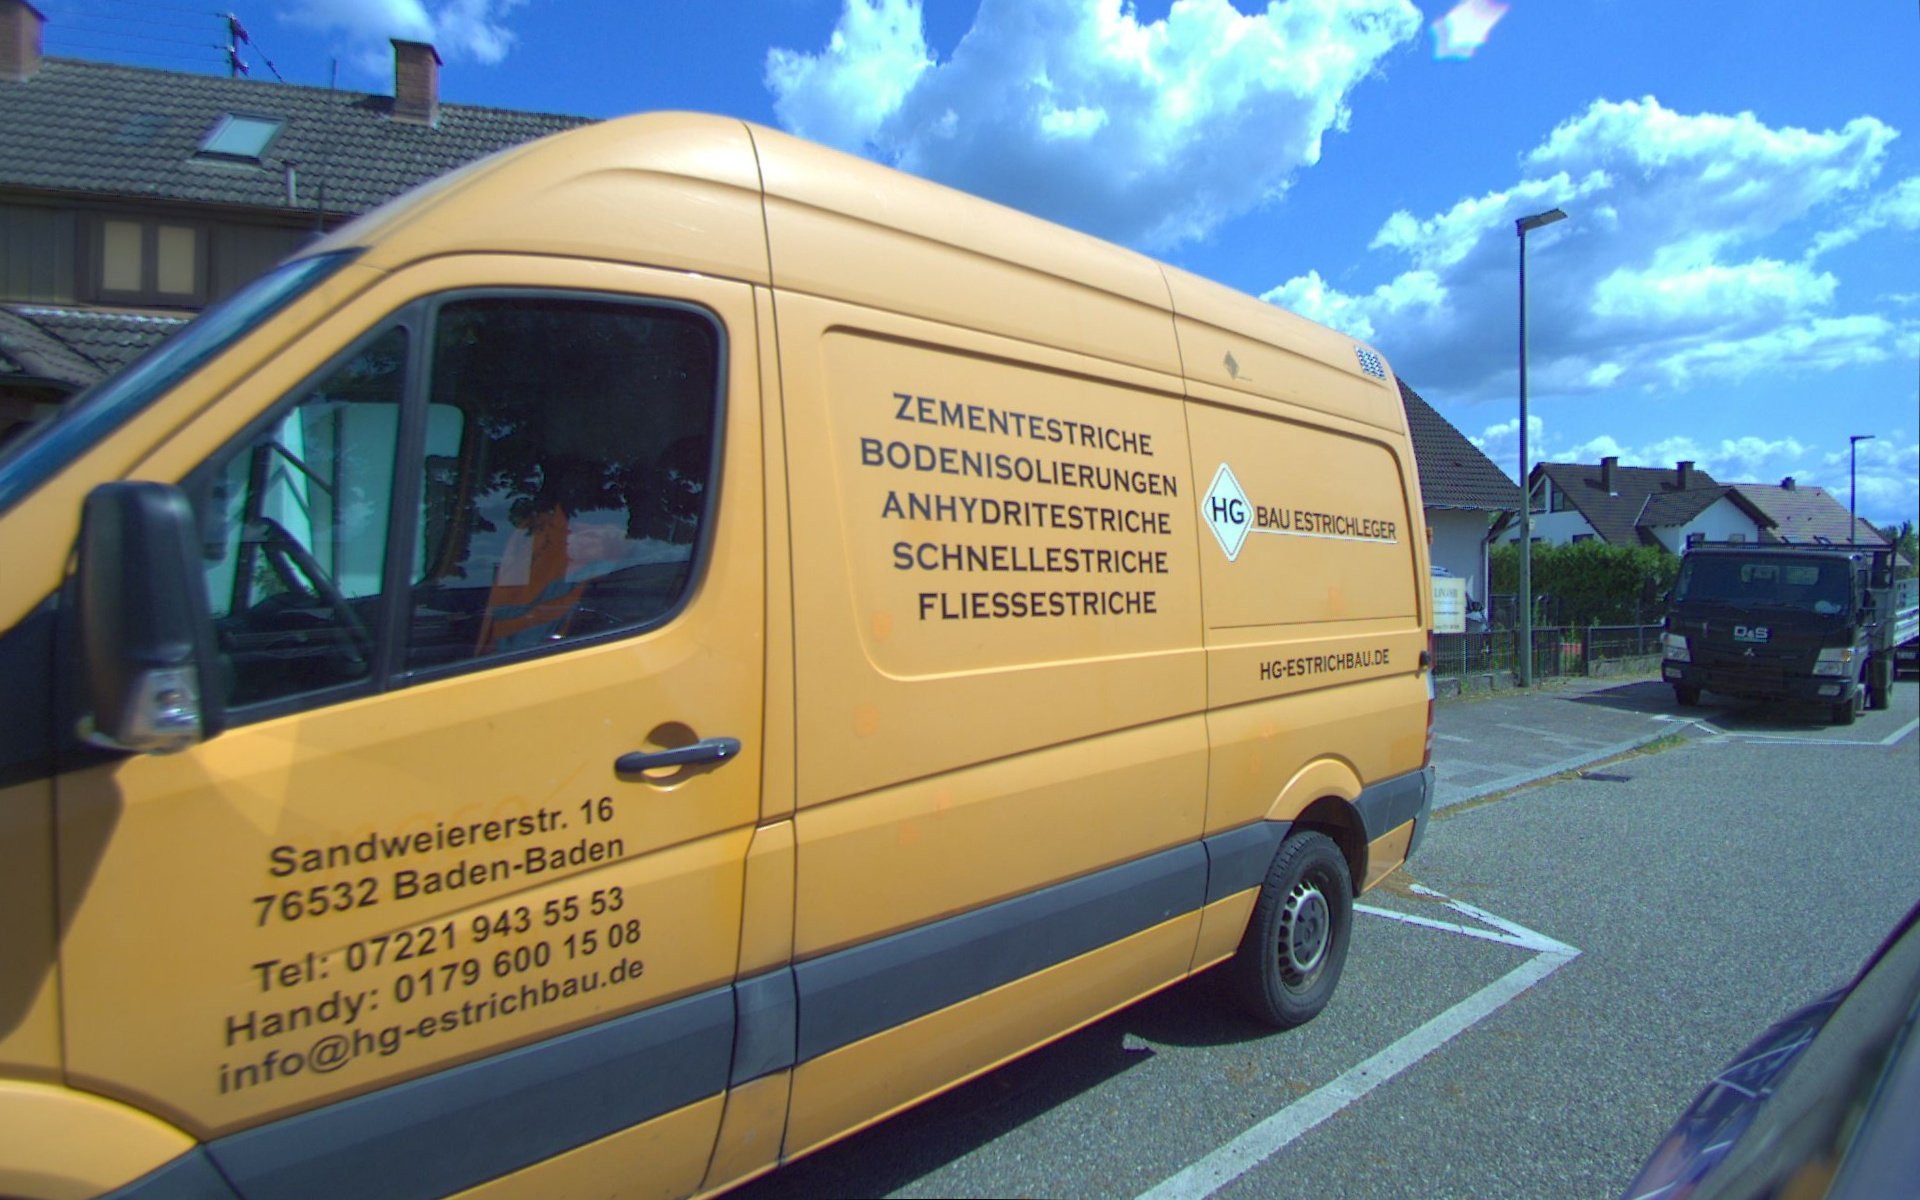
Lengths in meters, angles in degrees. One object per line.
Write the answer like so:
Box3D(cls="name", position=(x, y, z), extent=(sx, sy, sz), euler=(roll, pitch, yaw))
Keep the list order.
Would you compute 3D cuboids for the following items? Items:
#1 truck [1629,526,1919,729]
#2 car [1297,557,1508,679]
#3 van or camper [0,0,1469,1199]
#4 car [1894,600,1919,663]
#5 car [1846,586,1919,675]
Box3D(cls="truck", position=(12.048, 0.245, 14.498), extent=(5.791, 2.327, 2.528), euler=(0, 3, -40))
Box3D(cls="car", position=(8.062, 0.258, 18.173), extent=(1.857, 1.889, 4.940), euler=(1, 1, 44))
Box3D(cls="van or camper", position=(-0.550, 0.102, 3.178), extent=(5.672, 2.698, 1.996), euler=(0, 0, -43))
Box3D(cls="car", position=(24.097, 0.723, 24.490), extent=(4.072, 1.453, 1.688), euler=(0, 0, -40))
Box3D(cls="car", position=(19.783, 0.573, 20.739), extent=(4.473, 1.683, 1.833), euler=(0, 0, -40))
